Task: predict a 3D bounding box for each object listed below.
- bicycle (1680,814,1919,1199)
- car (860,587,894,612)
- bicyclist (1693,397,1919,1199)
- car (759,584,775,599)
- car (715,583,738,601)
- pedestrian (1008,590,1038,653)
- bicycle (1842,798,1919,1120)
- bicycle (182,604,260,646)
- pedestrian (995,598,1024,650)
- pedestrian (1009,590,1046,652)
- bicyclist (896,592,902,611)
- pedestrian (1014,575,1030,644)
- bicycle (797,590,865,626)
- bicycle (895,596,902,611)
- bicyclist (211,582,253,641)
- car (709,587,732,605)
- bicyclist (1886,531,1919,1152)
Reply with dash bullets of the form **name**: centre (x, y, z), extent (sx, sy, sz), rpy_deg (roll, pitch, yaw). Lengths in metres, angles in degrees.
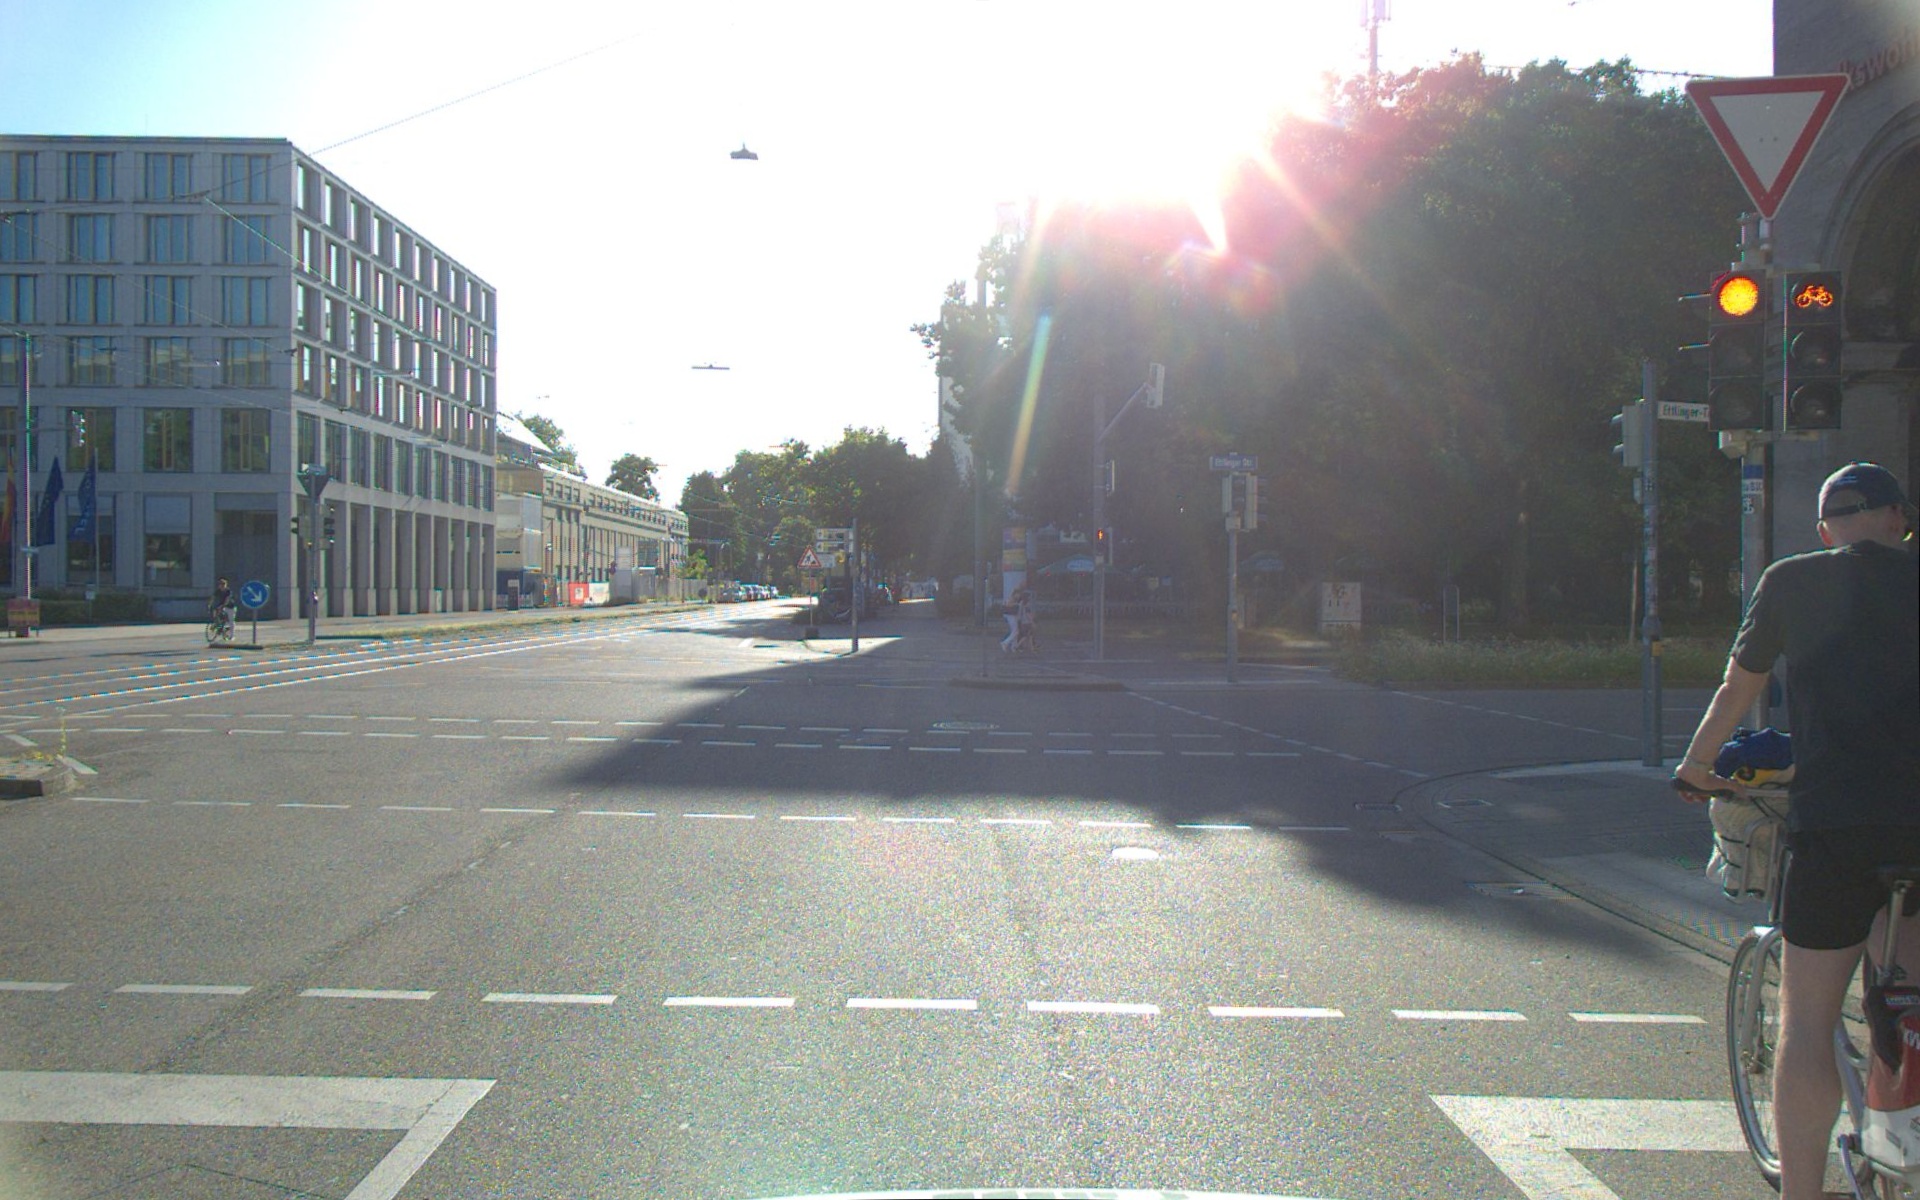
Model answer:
- **bicycle**: centre (2.184, 1.095, 3.881), extent (0.381, 0.921, 1.952), rpy_deg (0, 0, 8)
- **car**: centre (-4.460, -0.057, 89.282), extent (1.783, 1.301, 3.998), rpy_deg (0, 0, -3)
- **bicyclist**: centre (2.132, 0.424, 3.792), extent (0.655, 1.707, 0.657), rpy_deg (0, 0, 7)
- **car**: centre (-22.664, -0.986, 194.423), extent (1.453, 1.780, 3.999), rpy_deg (0, 0, -1)
- **car**: centre (-22.535, -0.789, 159.846), extent (1.695, 1.682, 3.999), rpy_deg (0, 0, -1)
- **pedestrian**: centre (1.682, 0.572, 44.118), extent (0.779, 1.668, 0.533), rpy_deg (0, 0, 2)
- **bicycle**: centre (3.008, 1.083, 4.324), extent (0.418, 0.891, 1.951), rpy_deg (0, 0, 2)
- **bicycle**: centre (-21.108, 0.694, 47.324), extent (0.857, 1.140, 3.013), rpy_deg (0, 0, 0)
- **pedestrian**: centre (1.295, 0.628, 43.606), extent (0.737, 1.356, 0.742), rpy_deg (0, 0, 0)
- **pedestrian**: centre (1.767, 0.547, 43.340), extent (0.964, 1.615, 0.660), rpy_deg (0, -1, 1)
- **bicyclist**: centre (-3.619, 0.076, 98.403), extent (0.311, 1.147, 0.291), rpy_deg (0, 0, 1)
- **pedestrian**: centre (1.671, 0.250, 44.621), extent (0.353, 1.836, 0.507), rpy_deg (0, 0, 11)
- **bicycle**: centre (-5.230, 0.329, 67.053), extent (2.688, 1.391, 0.631), rpy_deg (1, -1, 10)
- **bicycle**: centre (-3.644, 0.179, 98.447), extent (0.318, 0.883, 1.481), rpy_deg (0, 0, -5)
- **bicyclist**: centre (-21.092, 0.332, 47.927), extent (0.857, 1.670, 0.822), rpy_deg (0, 0, 0)
- **car**: centre (-22.525, -0.362, 155.757), extent (1.695, 1.682, 3.999), rpy_deg (0, 0, -1)
- **bicyclist**: centre (2.883, 0.664, 4.273), extent (0.511, 1.709, 0.859), rpy_deg (0, 0, 2)
